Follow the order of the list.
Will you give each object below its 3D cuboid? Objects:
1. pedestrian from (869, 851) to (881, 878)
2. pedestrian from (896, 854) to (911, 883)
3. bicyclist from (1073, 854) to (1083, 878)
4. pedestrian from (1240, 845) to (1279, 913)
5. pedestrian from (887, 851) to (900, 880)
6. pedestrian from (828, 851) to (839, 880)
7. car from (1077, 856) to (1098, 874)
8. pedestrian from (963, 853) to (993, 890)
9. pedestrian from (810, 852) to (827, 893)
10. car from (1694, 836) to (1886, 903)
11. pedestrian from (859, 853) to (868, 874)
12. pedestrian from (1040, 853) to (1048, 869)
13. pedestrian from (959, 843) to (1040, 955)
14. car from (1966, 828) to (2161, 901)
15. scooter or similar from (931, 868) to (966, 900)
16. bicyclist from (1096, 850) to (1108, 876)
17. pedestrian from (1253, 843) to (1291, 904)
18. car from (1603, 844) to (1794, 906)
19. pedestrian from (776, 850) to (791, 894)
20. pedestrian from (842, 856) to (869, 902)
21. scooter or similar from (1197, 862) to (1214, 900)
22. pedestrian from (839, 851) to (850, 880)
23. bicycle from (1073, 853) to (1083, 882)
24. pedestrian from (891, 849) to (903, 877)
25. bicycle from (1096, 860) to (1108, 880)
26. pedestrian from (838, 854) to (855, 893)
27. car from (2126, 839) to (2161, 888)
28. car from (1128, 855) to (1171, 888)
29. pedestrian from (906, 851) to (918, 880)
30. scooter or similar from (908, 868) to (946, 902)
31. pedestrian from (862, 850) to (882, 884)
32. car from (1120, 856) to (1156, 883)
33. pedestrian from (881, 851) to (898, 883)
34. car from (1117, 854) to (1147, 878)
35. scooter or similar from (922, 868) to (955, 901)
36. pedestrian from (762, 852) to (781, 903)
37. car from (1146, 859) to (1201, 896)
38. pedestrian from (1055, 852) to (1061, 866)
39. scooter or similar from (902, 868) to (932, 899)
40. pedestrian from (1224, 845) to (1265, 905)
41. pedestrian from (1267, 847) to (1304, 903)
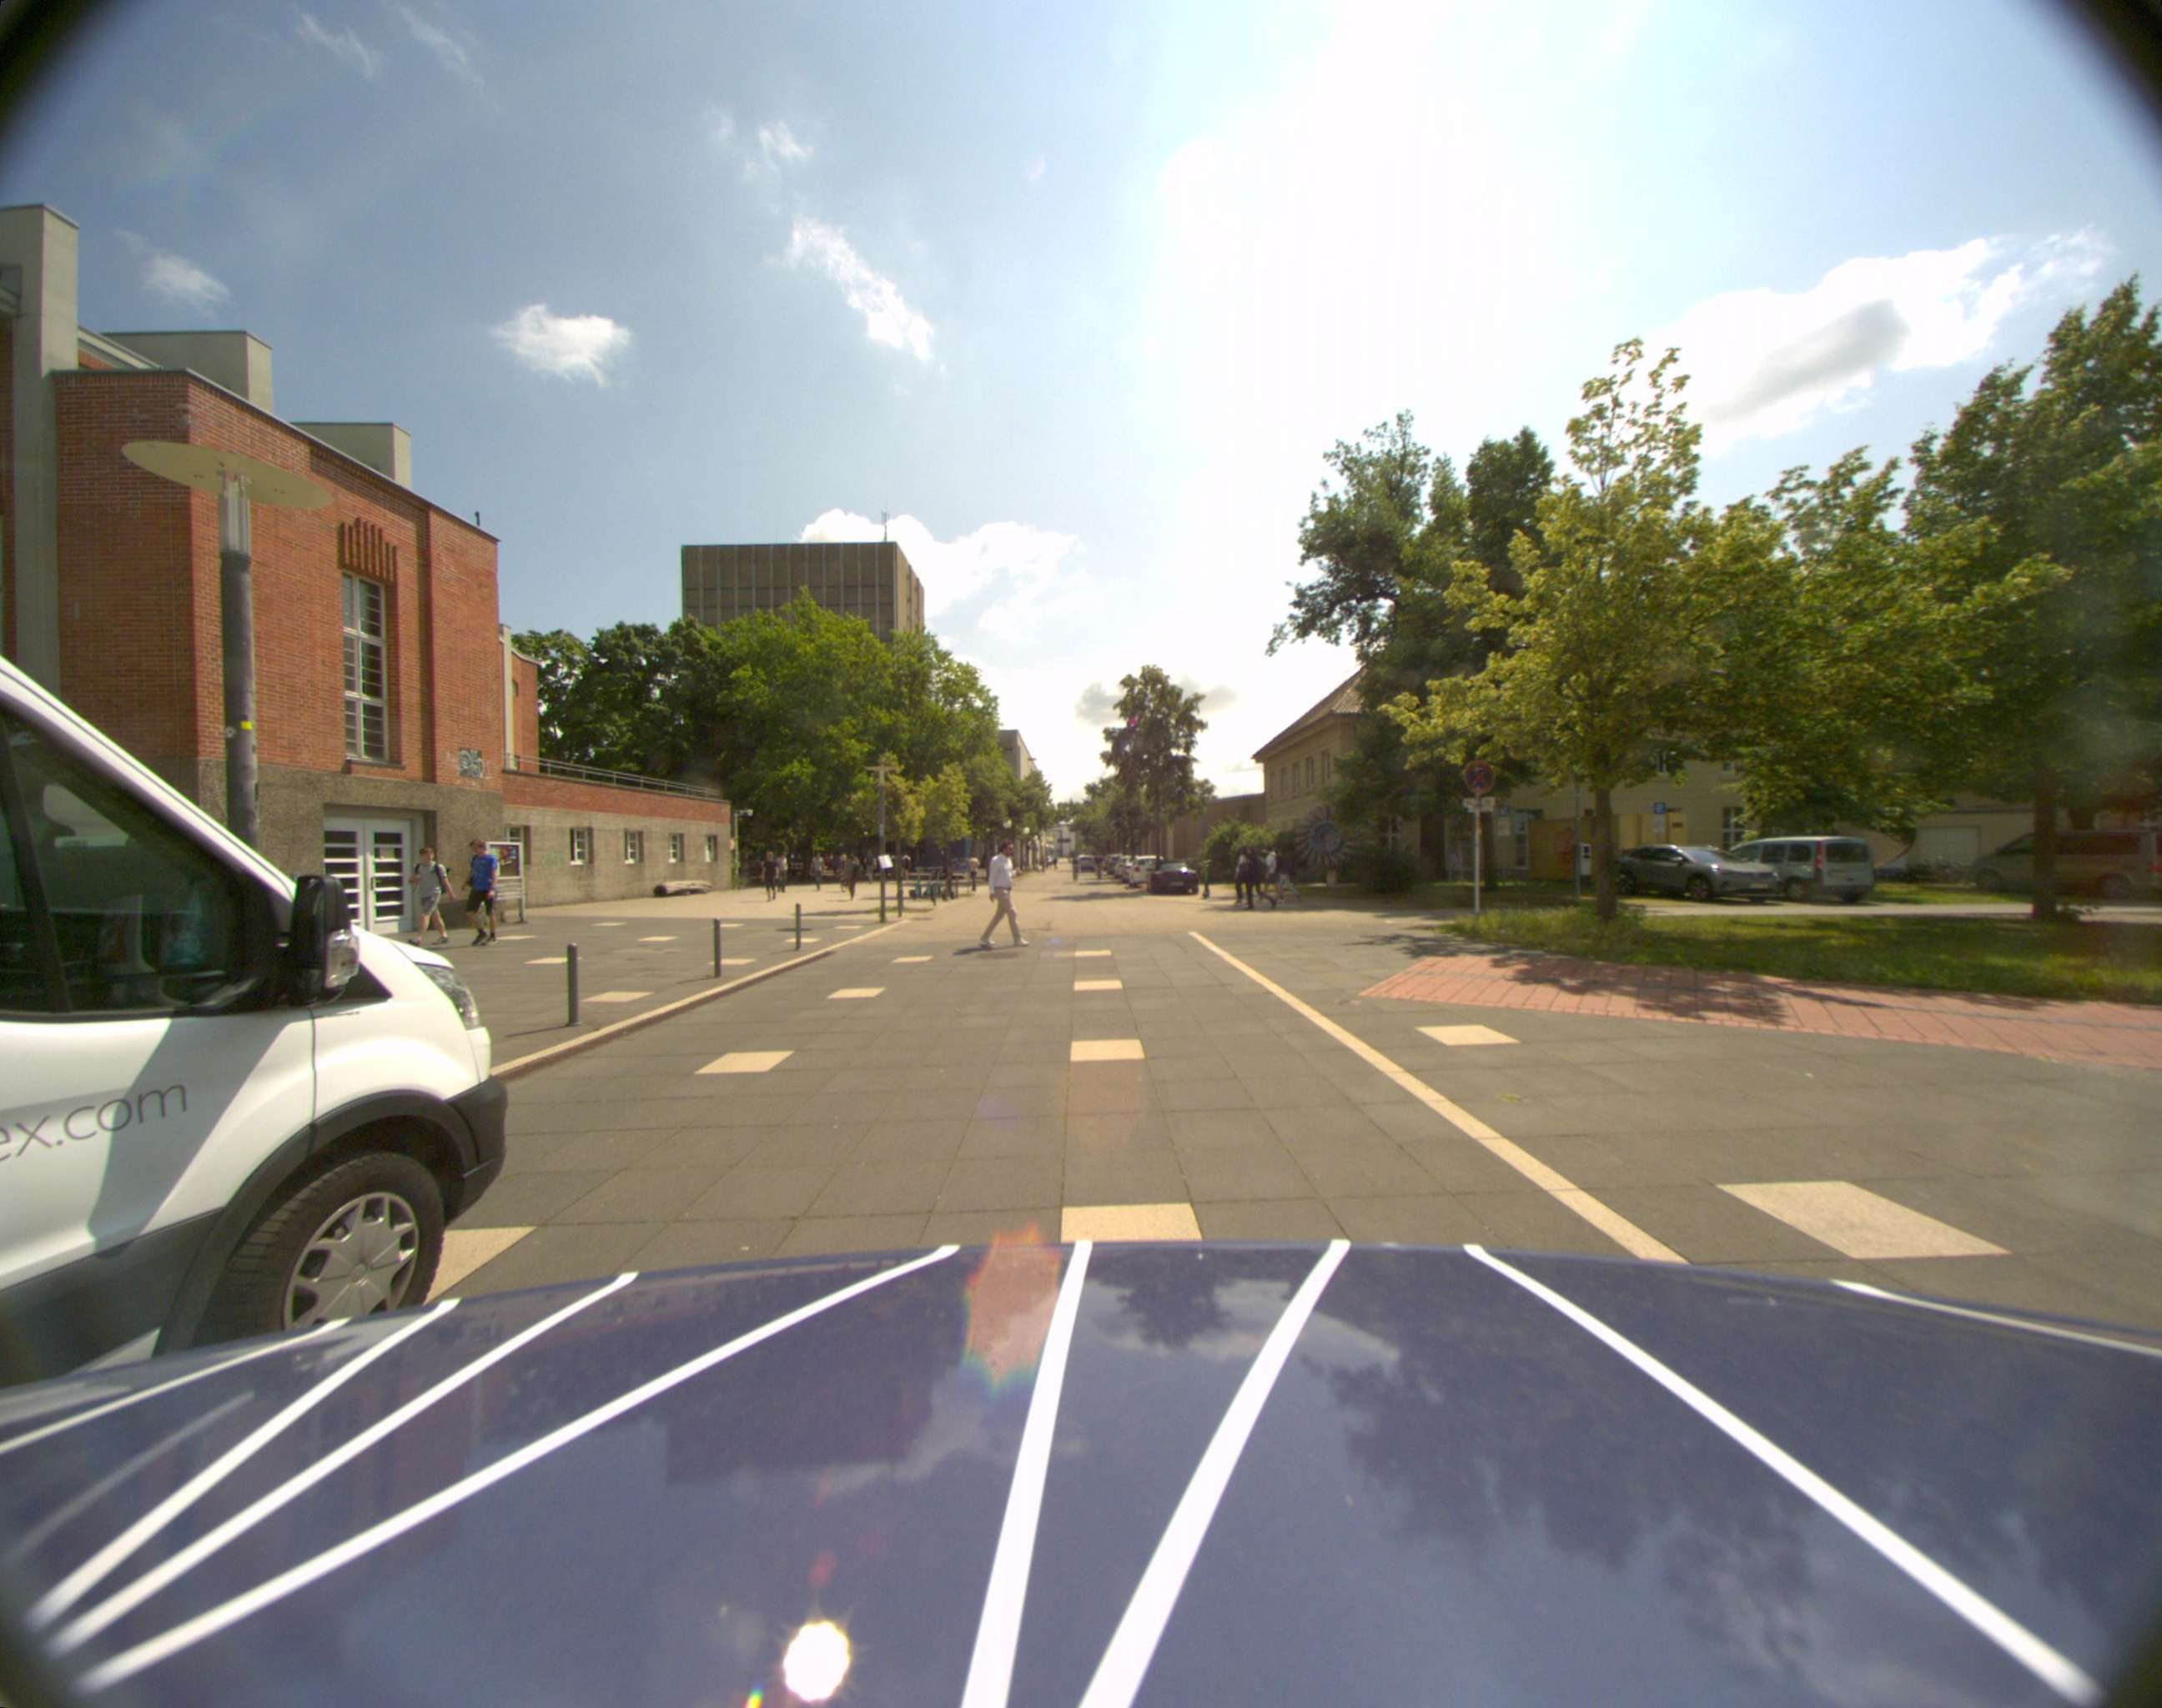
[{"bbox_3d":[-13.300,0.685,49.041,0.640,1.697,0.713,-1,0,-28],"label":"pedestrian"},{"bbox_3d":[-10.329,0.812,44.236,0.752,1.663,0.844,-1,0,-22],"label":"pedestrian"},{"bbox_3d":[-0.200,0.705,45.754,0.588,1.444,1.233,-1,1,0],"label":"bicyclist"},{"bbox_3d":[4.799,0.657,20.401,0.870,1.776,0.570,0,0,29],"label":"pedestrian"},{"bbox_3d":[-11.379,0.684,46.081,0.603,1.742,0.763,-1,0,-26],"label":"pedestrian"},{"bbox_3d":[-15.192,0.692,46.632,0.566,1.783,0.643,-1,0,-24],"label":"pedestrian"},{"bbox_3d":[0.600,0.997,72.628,1.932,1.624,4.372,-1,0,1],"label":"car"},{"bbox_3d":[-5.052,0.864,37.254,0.985,1.776,1.092,-1,0,-39],"label":"pedestrian"},{"bbox_3d":[-12.537,0.883,36.308,0.670,1.875,0.972,-3,-1,-20],"label":"pedestrian"},{"bbox_3d":[20.798,0.377,22.570,1.811,1.776,4.123,-1,2,-1],"label":"car"},{"bbox_3d":[-16.311,0.732,56.911,0.640,1.548,0.574,-1,0,-16],"label":"pedestrian"},{"bbox_3d":[-3.296,0.640,67.756,0.585,1.433,0.638,0,0,1],"label":"pedestrian"},{"bbox_3d":[-1.397,0.735,13.141,1.022,1.837,0.918,1,1,31],"label":"pedestrian"},{"bbox_3d":[29.913,0.219,22.682,1.811,1.949,4.527,-1,2,3],"label":"car"},{"bbox_3d":[-5.115,1.141,29.325,1.261,1.225,0.577,0,0,35],"label":"scooter or similar"},{"bbox_3d":[1.279,0.549,46.617,0.630,1.597,1.328,-1,1,-2],"label":"bicyclist"},{"bbox_3d":[5.727,0.581,22.782,0.898,1.776,0.728,0,1,34],"label":"pedestrian"},{"bbox_3d":[18.143,0.538,22.686,1.899,1.572,4.648,-1,2,-1],"label":"car"},{"bbox_3d":[-13.335,0.817,34.069,0.566,1.917,0.889,-3,-1,-21],"label":"pedestrian"},{"bbox_3d":[-8.420,0.908,28.448,0.785,1.666,1.078,0,1,-7],"label":"pedestrian"},{"bbox_3d":[4.127,0.885,25.304,0.470,1.209,1.205,-1,1,5],"label":"scooter or similar"},{"bbox_3d":[-14.613,0.705,46.943,0.542,1.783,0.643,-1,0,-27],"label":"pedestrian"},{"bbox_3d":[-0.193,0.786,45.696,0.588,1.670,1.758,-1,1,-1],"label":"bicycle"},{"bbox_3d":[-12.507,0.612,51.521,0.641,1.859,0.536,-1,0,-33],"label":"pedestrian"},{"bbox_3d":[1.284,0.966,46.570,0.626,1.135,1.812,-1,0,-2],"label":"bicycle"},{"bbox_3d":[-10.886,0.911,35.282,0.669,1.755,0.797,-2,0,-12],"label":"pedestrian"},{"bbox_3d":[35.064,0.337,22.748,1.811,1.533,4.123,-1,2,-1],"label":"car"},{"bbox_3d":[3.169,0.793,35.546,1.635,1.422,3.632,-1,0,0],"label":"car"},{"bbox_3d":[-10.355,0.691,46.511,0.623,1.729,0.773,-1,0,-22],"label":"pedestrian"},{"bbox_3d":[-5.634,1.123,27.830,1.352,1.223,0.577,0,0,35],"label":"scooter or similar"},{"bbox_3d":[-11.991,0.724,43.513,0.984,1.934,0.976,-1,0,-22],"label":"pedestrian"},{"bbox_3d":[3.067,0.817,41.498,1.648,1.368,4.000,-1,0,1],"label":"car"},{"bbox_3d":[-11.040,0.739,43.795,0.782,1.781,0.713,-1,0,-24],"label":"pedestrian"},{"bbox_3d":[3.283,0.760,49.678,1.718,1.424,4.000,-1,0,1],"label":"car"},{"bbox_3d":[-5.385,1.137,28.620,1.140,1.236,0.577,0,0,35],"label":"scooter or similar"},{"bbox_3d":[-11.057,0.820,27.178,0.587,1.768,0.797,-1,2,-20],"label":"pedestrian"},{"bbox_3d":[3.479,0.856,29.100,1.701,1.287,3.762,-1,0,1],"label":"car"},{"bbox_3d":[-2.796,0.566,92.090,0.536,1.672,0.587,0,0,28],"label":"pedestrian"},{"bbox_3d":[-6.482,1.165,30.050,0.575,1.173,1.479,0,0,13],"label":"scooter or similar"},{"bbox_3d":[4.799,0.605,22.309,0.623,1.706,1.002,-1,0,-38],"label":"pedestrian"},{"bbox_3d":[6.331,0.647,23.520,0.970,1.706,0.559,-1,1,30],"label":"pedestrian"}]
